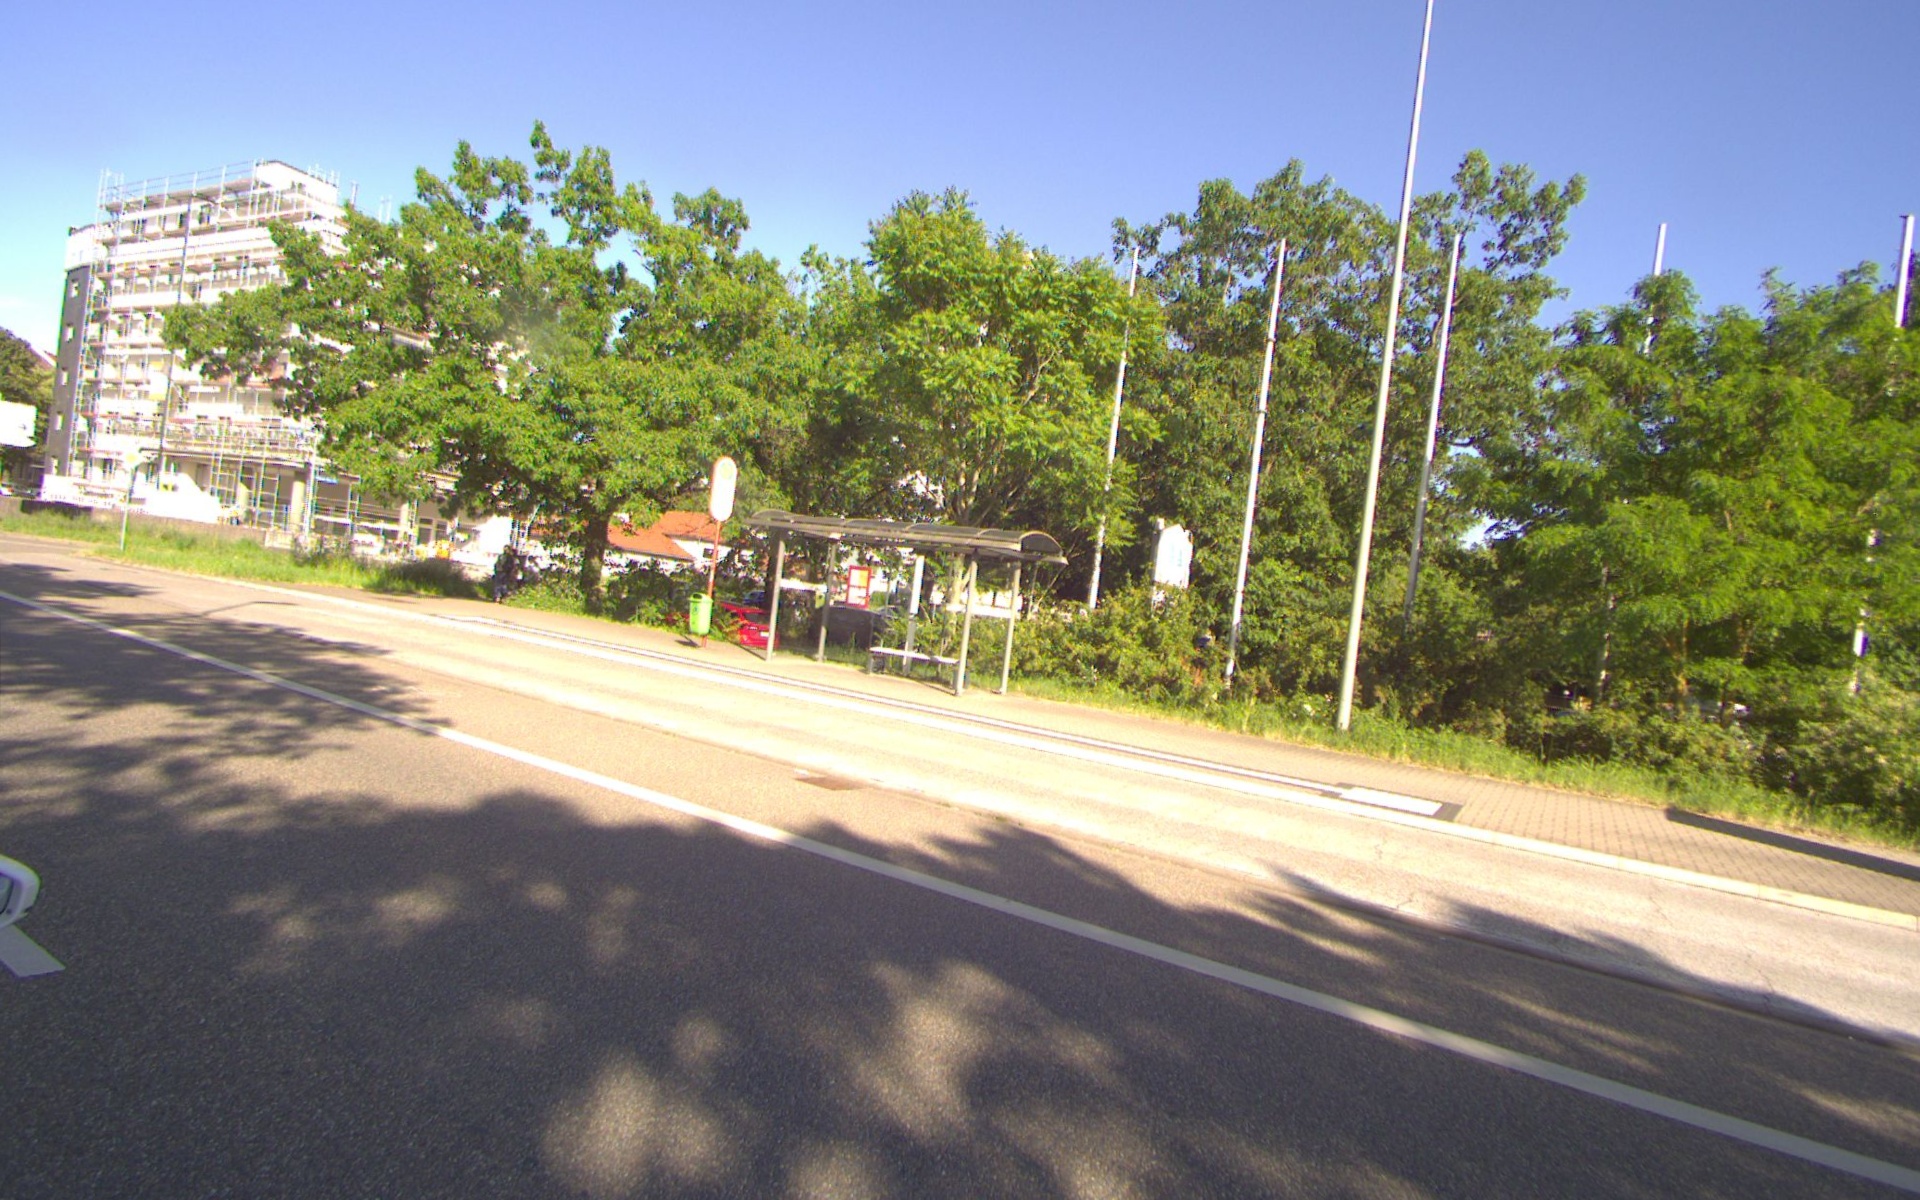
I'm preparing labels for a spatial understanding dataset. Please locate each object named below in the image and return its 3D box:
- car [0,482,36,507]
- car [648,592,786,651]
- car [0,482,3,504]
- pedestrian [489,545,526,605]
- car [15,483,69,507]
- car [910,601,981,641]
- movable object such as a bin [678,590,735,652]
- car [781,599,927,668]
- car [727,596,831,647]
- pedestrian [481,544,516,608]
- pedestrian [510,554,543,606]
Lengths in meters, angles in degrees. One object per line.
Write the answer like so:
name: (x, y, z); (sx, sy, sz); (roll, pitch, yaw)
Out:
car: (-66.877, -7.463, 70.567); (1.802, 1.527, 3.975); (7, 0, -24)
car: (-6.967, 0.605, 28.717); (3.846, 1.168, 1.399); (7, 0, 31)
car: (-64.882, -7.230, 66.084); (1.759, 1.460, 3.595); (8, 0, -25)
pedestrian: (-13.131, -0.727, 29.197); (0.542, 1.655, 0.622); (8, 1, 32)
car: (-84.087, -9.636, 92.118); (3.925, 1.613, 1.911); (7, 0, 19)
car: (-1.012, 1.422, 68.927); (4.283, 2.098, 1.995); (7, 0, 35)
movable object such as a bin: (-4.700, 0.398, 18.693); (0.568, 1.042, 0.727); (7, 0, 31)
car: (-3.788, 1.163, 35.579); (4.811, 1.556, 1.996); (10, 0, 35)
car: (-7.712, 0.916, 42.756); (3.938, 1.626, 1.995); (6, -2, 35)
pedestrian: (-13.058, -0.682, 28.464); (0.403, 1.721, 0.603); (8, 1, 31)
pedestrian: (-13.509, -0.626, 31.355); (0.604, 1.537, 0.528); (7, 0, 35)
